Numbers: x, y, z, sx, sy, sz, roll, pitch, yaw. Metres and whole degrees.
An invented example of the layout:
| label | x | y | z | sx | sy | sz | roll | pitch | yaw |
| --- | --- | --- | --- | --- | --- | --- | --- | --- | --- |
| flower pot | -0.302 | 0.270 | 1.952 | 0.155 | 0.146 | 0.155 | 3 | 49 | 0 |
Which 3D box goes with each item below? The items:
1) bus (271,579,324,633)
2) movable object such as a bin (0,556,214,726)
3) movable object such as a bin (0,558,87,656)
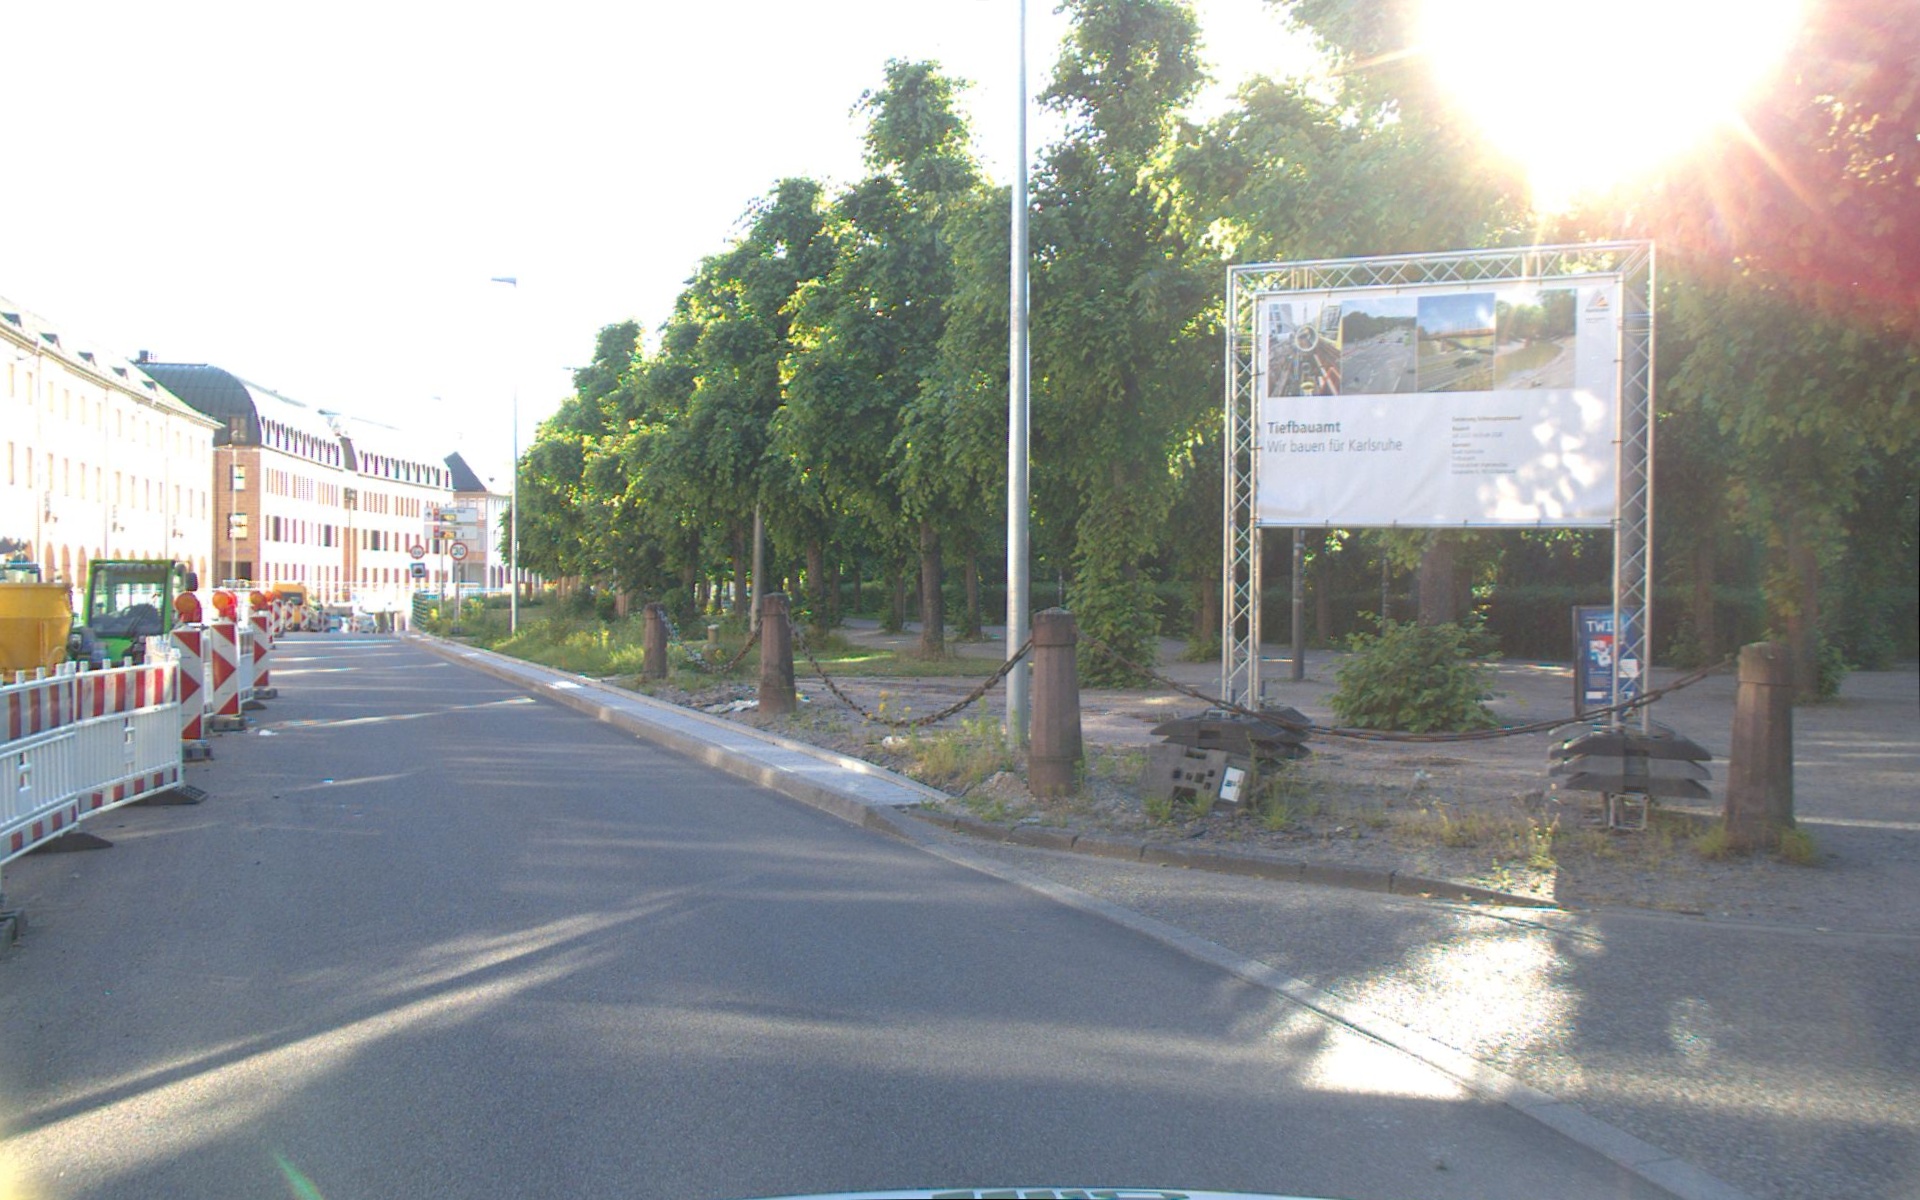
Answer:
| label | x | y | z | sx | sy | sz | roll | pitch | yaw |
| --- | --- | --- | --- | --- | --- | --- | --- | --- | --- |
| bus | -34.969 | 0.358 | 87.419 | 2.039 | 2.734 | 4.663 | 0 | -2 | -15 |
| movable object such as a bin | -11.106 | 0.427 | 21.575 | 2.018 | 1.983 | 4.313 | 0 | 1 | -18 |
| movable object such as a bin | -25.436 | 0.131 | 45.231 | 2.043 | 2.518 | 4.592 | 0 | 1 | -19 |
